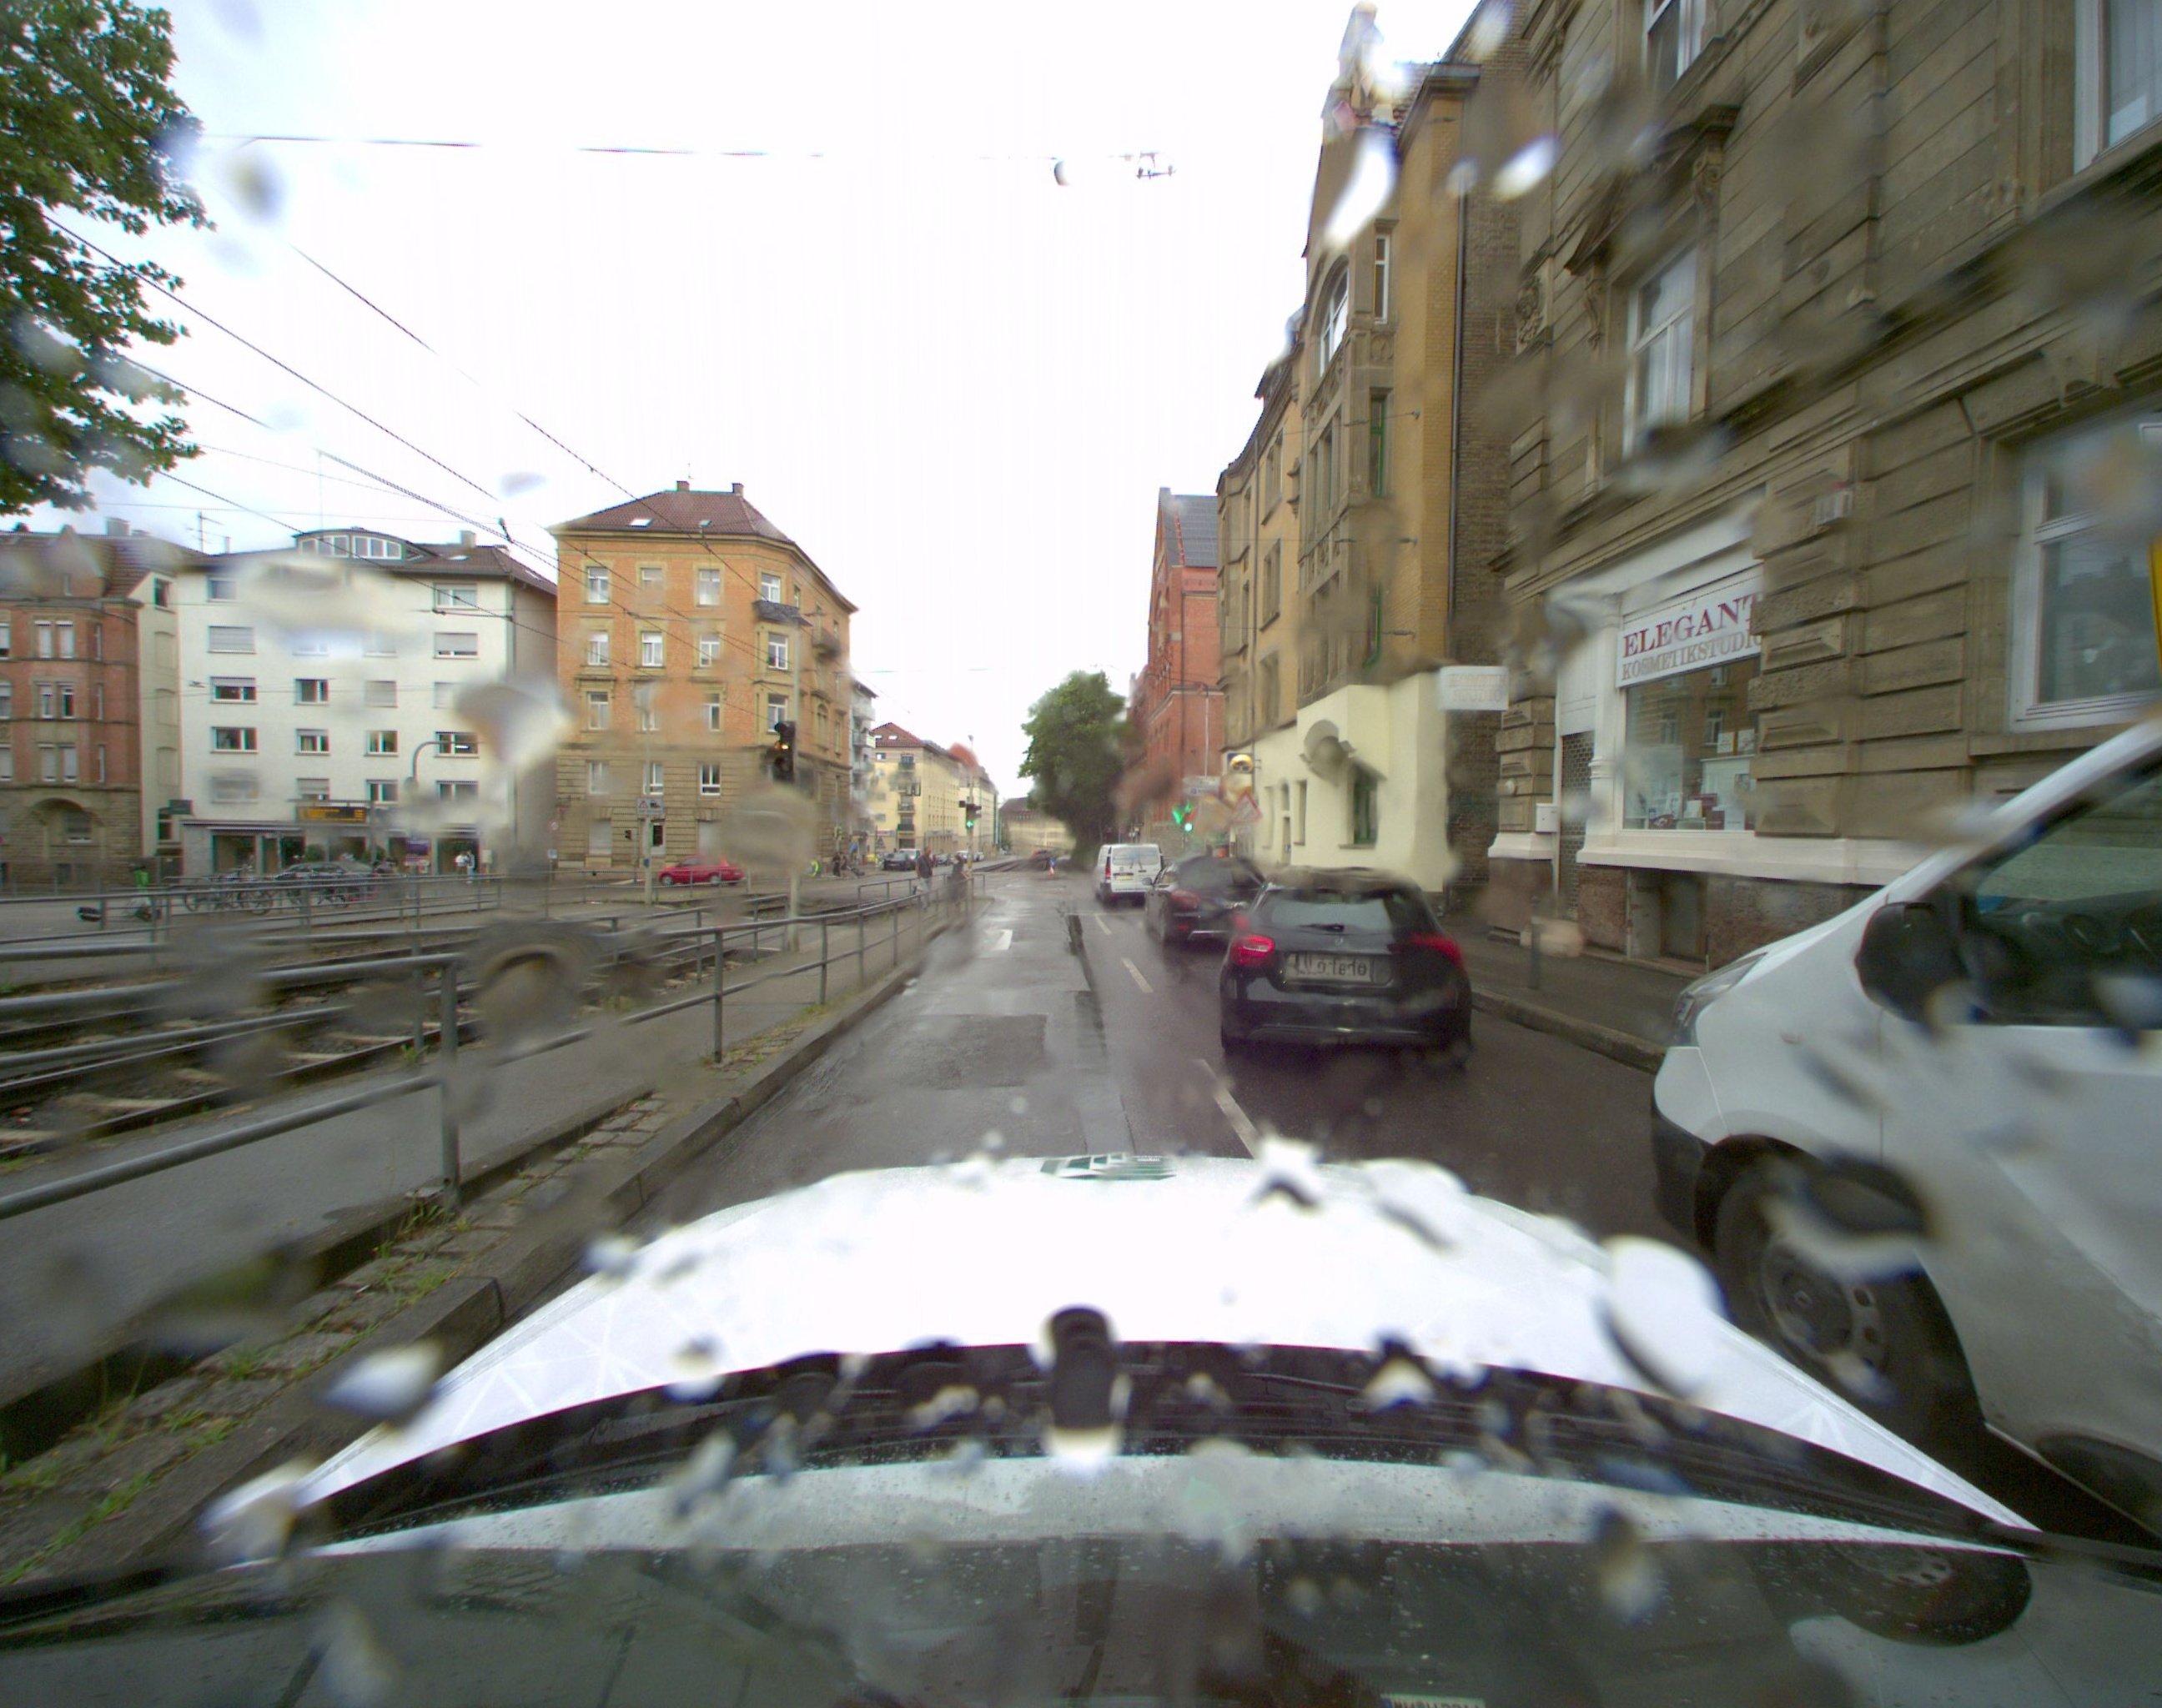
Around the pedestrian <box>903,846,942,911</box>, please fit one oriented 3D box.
[{"bbox_3d":[-4.276,0.644,22.011,0.745,1.724,0.732,1,0,-45],"label":"pedestrian"}]

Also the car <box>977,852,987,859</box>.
[{"bbox_3d":[-18.123,0.247,148.770,1.391,1.171,3.160,0,0,-1],"label":"car"}]

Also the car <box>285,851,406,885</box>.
[{"bbox_3d":[-32.053,0.584,35.578,3.594,1.403,1.683,0,0,-4],"label":"car"}]

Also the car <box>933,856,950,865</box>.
[{"bbox_3d":[-16.440,0.749,96.012,1.433,1.106,3.160,0,0,-1],"label":"car"}]

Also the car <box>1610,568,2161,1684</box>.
[{"bbox_3d":[2.834,0.471,0.558,1.915,1.936,4.684,0,0,0],"label":"car"}]

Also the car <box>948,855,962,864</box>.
[{"bbox_3d":[-16.866,0.692,109.122,1.391,1.171,3.160,0,0,-1],"label":"car"}]

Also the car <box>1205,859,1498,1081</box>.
[{"bbox_3d":[2.398,0.756,7.405,1.879,1.390,4.019,0,0,18],"label":"car"}]

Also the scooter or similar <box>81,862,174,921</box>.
[{"bbox_3d":[-20.025,0.766,17.125,0.295,1.195,1.259,0,0,38],"label":"scooter or similar"}]

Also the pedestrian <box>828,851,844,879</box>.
[{"bbox_3d":[-14.700,0.644,48.901,0.675,1.661,0.677,0,0,5],"label":"pedestrian"}]

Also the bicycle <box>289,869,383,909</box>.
[{"bbox_3d":[-20.487,0.959,22.429,1.872,1.065,0.515,0,0,-13],"label":"bicycle"}]

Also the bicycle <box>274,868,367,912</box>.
[{"bbox_3d":[-20.240,0.946,21.700,1.768,1.142,0.515,0,0,-13],"label":"bicycle"}]

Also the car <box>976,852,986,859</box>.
[{"bbox_3d":[-17.708,0.300,144.293,1.391,1.171,3.160,0,0,-1],"label":"car"}]

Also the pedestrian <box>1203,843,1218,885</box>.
[{"bbox_3d":[3.942,0.299,24.767,0.411,1.271,0.292,0,0,4],"label":"pedestrian"}]

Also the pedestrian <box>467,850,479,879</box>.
[{"bbox_3d":[-34.264,0.579,45.905,0.520,1.622,0.480,1,0,-41],"label":"pedestrian"}]

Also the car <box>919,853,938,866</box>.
[{"bbox_3d":[-16.337,0.616,87.519,1.495,1.356,3.160,0,0,-1],"label":"car"}]

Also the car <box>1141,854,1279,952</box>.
[{"bbox_3d":[2.115,0.740,14.448,1.708,1.469,4.279,0,0,-1],"label":"car"}]

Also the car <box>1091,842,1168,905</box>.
[{"bbox_3d":[1.443,0.571,25.825,1.929,1.831,4.275,0,0,-4],"label":"car"}]

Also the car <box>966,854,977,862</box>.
[{"bbox_3d":[-17.071,0.571,127.128,1.391,1.171,3.160,0,0,-1],"label":"car"}]

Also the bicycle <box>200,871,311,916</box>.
[{"bbox_3d":[-19.931,0.942,19.687,1.873,1.061,0.515,0,0,-13],"label":"bicycle"}]

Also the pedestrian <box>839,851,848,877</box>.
[{"bbox_3d":[-14.904,0.619,51.081,0.519,1.666,0.474,0,0,-17],"label":"pedestrian"}]

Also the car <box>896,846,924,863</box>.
[{"bbox_3d":[-16.060,0.061,76.718,1.781,1.530,4.460,0,0,-1],"label":"car"}]

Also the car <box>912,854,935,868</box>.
[{"bbox_3d":[-16.060,0.676,83.148,1.675,1.356,3.701,0,0,-1],"label":"car"}]

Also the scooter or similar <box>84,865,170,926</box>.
[{"bbox_3d":[-19.576,0.830,16.727,0.357,1.195,1.119,0,0,38],"label":"scooter or similar"}]

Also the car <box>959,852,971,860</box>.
[{"bbox_3d":[-17.138,0.333,120.548,1.391,1.171,3.160,0,0,-1],"label":"car"}]

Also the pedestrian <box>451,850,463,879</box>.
[{"bbox_3d":[-34.904,0.588,45.557,0.520,1.622,0.480,1,0,-41],"label":"pedestrian"}]

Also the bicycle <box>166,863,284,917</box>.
[{"bbox_3d":[-19.627,0.809,18.701,1.872,1.195,0.515,0,0,-13],"label":"bicycle"}]

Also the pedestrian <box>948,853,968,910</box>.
[{"bbox_3d":[-3.313,0.735,21.941,0.531,1.530,0.435,0,0,-9],"label":"pedestrian"}]

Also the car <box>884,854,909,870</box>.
[{"bbox_3d":[-15.913,0.694,70.333,1.448,1.318,3.292,1,0,-2],"label":"car"}]

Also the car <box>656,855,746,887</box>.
[{"bbox_3d":[-18.527,0.810,39.761,3.584,1.489,1.687,0,0,4],"label":"car"}]
